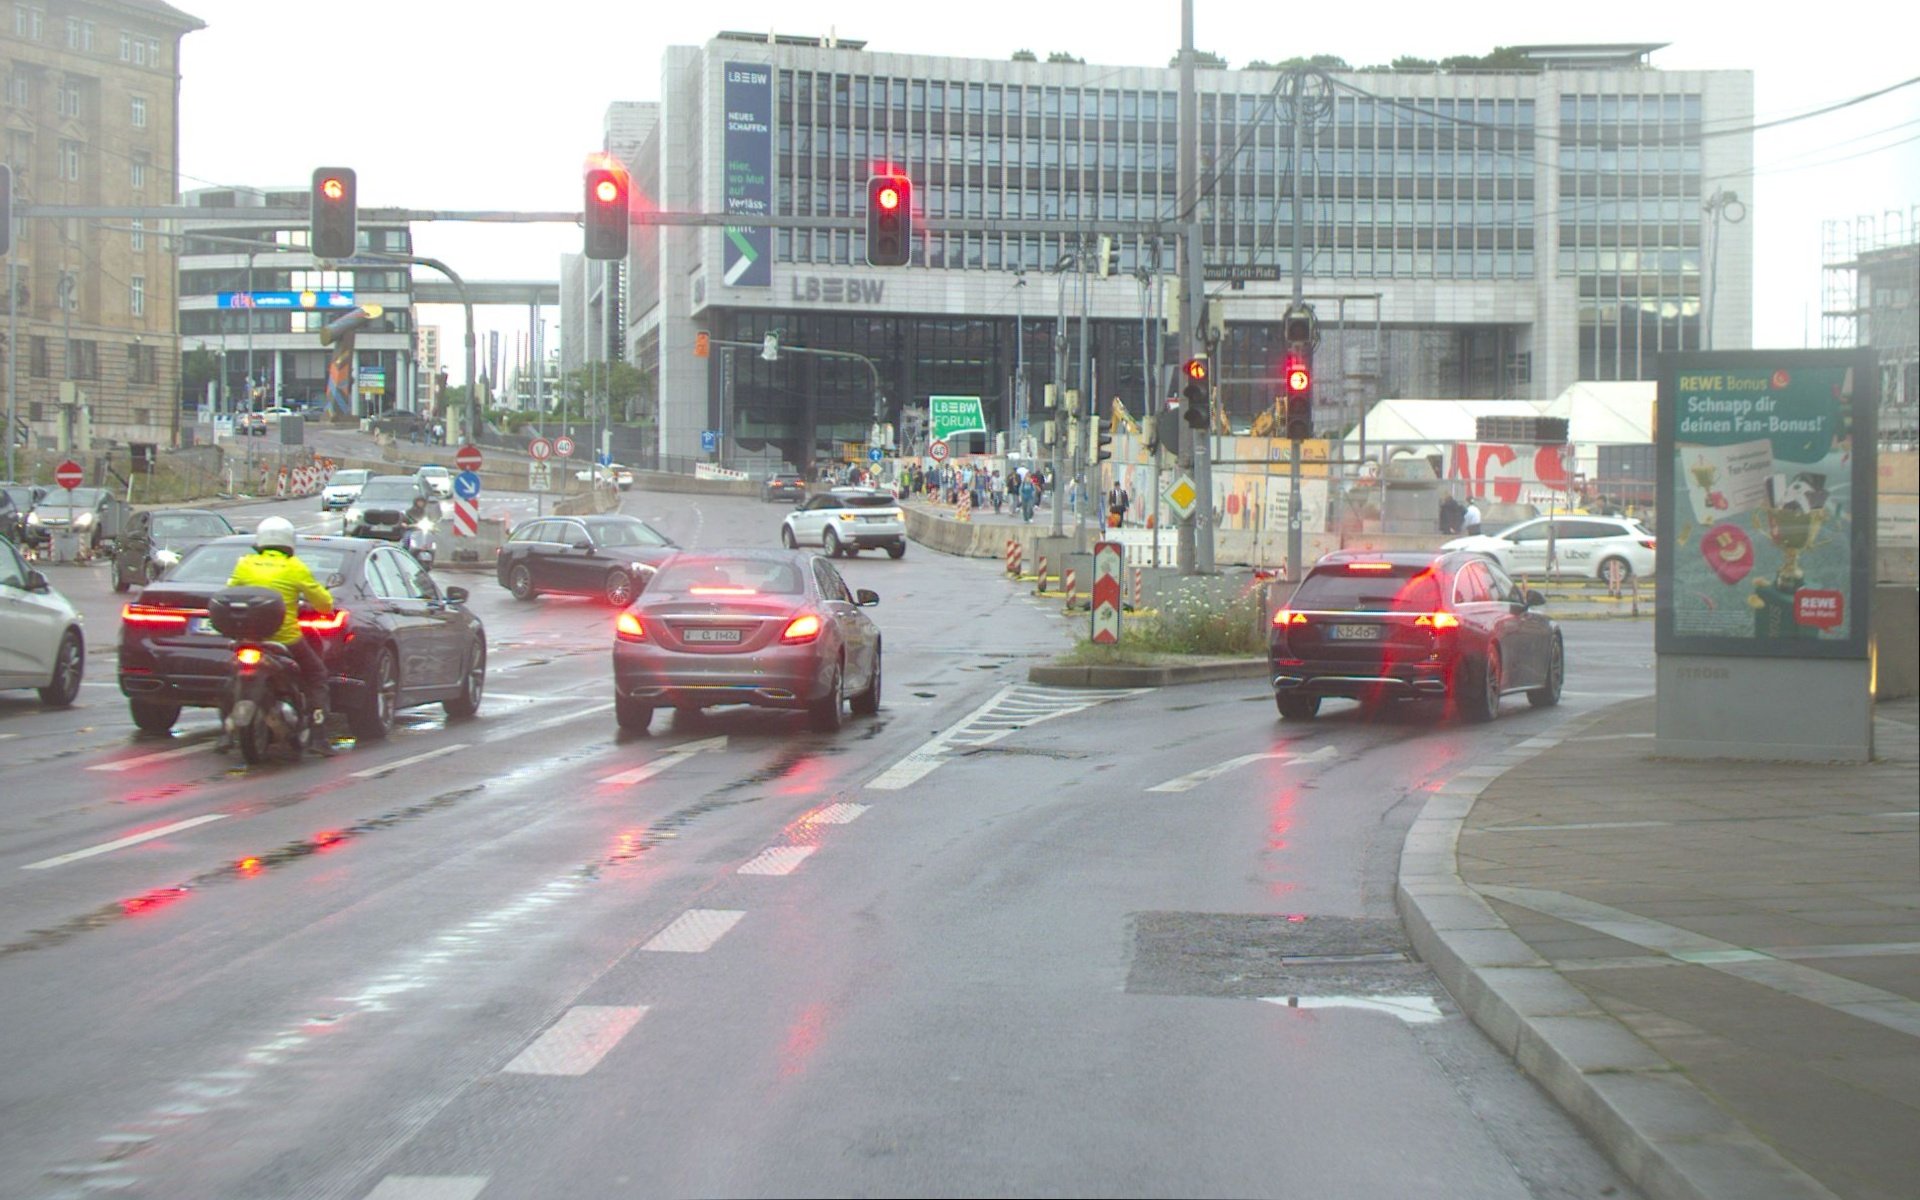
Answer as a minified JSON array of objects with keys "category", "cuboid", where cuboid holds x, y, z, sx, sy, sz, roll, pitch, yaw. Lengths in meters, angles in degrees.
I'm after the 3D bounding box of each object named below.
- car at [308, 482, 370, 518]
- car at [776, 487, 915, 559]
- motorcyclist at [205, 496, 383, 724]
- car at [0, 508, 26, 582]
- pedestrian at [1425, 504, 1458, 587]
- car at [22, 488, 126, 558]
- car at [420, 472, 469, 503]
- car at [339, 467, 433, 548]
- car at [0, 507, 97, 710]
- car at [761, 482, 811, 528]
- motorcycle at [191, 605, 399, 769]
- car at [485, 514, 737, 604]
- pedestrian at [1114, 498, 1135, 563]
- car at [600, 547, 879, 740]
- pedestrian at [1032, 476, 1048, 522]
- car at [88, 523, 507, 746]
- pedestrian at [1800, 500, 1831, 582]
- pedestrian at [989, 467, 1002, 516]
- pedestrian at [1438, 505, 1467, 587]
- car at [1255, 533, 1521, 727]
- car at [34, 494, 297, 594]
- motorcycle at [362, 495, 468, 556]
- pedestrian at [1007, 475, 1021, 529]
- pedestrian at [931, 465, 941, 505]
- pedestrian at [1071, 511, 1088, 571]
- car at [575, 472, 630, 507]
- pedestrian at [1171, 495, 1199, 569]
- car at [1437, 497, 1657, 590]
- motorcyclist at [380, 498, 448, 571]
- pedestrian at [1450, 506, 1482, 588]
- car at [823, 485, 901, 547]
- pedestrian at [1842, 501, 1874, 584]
[{"category":"car","cuboid":[-24.580,-3.940,136.143,1.767,1.256,4.194,2,0,-2]},{"category":"car","cuboid":[-2.804,-1.861,83.470,1.993,1.634,4.001,2,0,-23]},{"category":"motorcyclist","cuboid":[-4.499,0.064,23.292,0.941,1.470,1.100,2,0,-1]},{"category":"car","cuboid":[-21.378,-1.220,73.675,1.801,1.568,4.075,2,0,-4]},{"category":"pedestrian","cuboid":[11.158,-1.261,79.689,0.576,1.891,0.361,2,0,44]},{"category":"car","cuboid":[-21.647,-1.855,84.140,1.697,1.568,4.001,2,0,-4]},{"category":"car","cuboid":[-24.025,-5.220,160.415,1.767,1.256,4.000,2,0,-2]},{"category":"car","cuboid":[-13.983,-2.227,83.959,1.993,1.791,5.104,2,0,-7]},{"category":"car","cuboid":[-8.476,0.036,27.583,1.733,1.610,3.999,2,0,5]},{"category":"car","cuboid":[-8.264,-4.477,162.906,1.993,2.007,4.001,2,0,-8]},{"category":"motorcycle","cuboid":[-4.453,0.558,23.199,0.942,0.986,2.294,2,1,-1]},{"category":"car","cuboid":[-5.795,-0.689,56.792,1.994,1.340,4.110,2,0,-43]},{"category":"pedestrian","cuboid":[4.848,-2.035,101.341,0.361,1.891,0.576,2,0,-15]},{"category":"car","cuboid":[-1.740,0.331,28.492,1.783,1.398,4.486,2,0,2]},{"category":"pedestrian","cuboid":[3.378,-4.260,145.384,0.519,1.891,0.576,2,0,-7]},{"category":"car","cuboid":[-5.040,0.250,26.919,1.887,1.509,5.001,2,0,5]},{"category":"pedestrian","cuboid":[20.132,-1.390,80.882,0.574,1.891,0.362,2,0,3]},{"category":"pedestrian","cuboid":[1.379,-4.238,134.055,0.361,1.891,0.576,2,0,-7]},{"category":"pedestrian","cuboid":[11.447,-1.255,79.940,0.361,1.891,0.576,0,0,-41]},{"category":"car","cuboid":[3.878,0.261,30.603,1.892,1.538,3.991,2,0,13]},{"category":"car","cuboid":[-13.385,-0.950,57.861,4.107,1.501,1.996,2,0,34]},{"category":"motorcycle","cuboid":[-10.428,-1.423,65.692,2.141,1.104,0.849,2,0,44]},{"category":"pedestrian","cuboid":[1.903,-3.437,120.754,0.361,1.891,0.576,2,0,-7]},{"category":"pedestrian","cuboid":[-1.131,-5.463,163.623,0.361,1.891,0.576,2,0,-7]},{"category":"pedestrian","cuboid":[3.794,-1.885,109.335,0.361,1.891,0.576,2,0,-11]},{"category":"car","cuboid":[-20.183,-6.231,194.025,1.993,1.809,4.001,2,0,-22]},{"category":"pedestrian","cuboid":[5.811,-1.749,88.682,0.361,1.891,0.576,2,0,-36]},{"category":"car","cuboid":[12.372,-1.185,72.690,4.405,1.760,1.999,2,0,6]},{"category":"motorcyclist","cuboid":[-10.433,-1.256,65.689,0.847,1.353,0.947,2,0,-45]},{"category":"pedestrian","cuboid":[11.804,-1.235,80.199,0.361,1.891,0.576,2,0,-42]},{"category":"car","cuboid":[-2.936,-2.523,102.480,1.727,1.634,3.436,2,3,-11]},{"category":"pedestrian","cuboid":[20.749,-1.323,79.442,0.574,1.891,0.362,2,0,3]}]
